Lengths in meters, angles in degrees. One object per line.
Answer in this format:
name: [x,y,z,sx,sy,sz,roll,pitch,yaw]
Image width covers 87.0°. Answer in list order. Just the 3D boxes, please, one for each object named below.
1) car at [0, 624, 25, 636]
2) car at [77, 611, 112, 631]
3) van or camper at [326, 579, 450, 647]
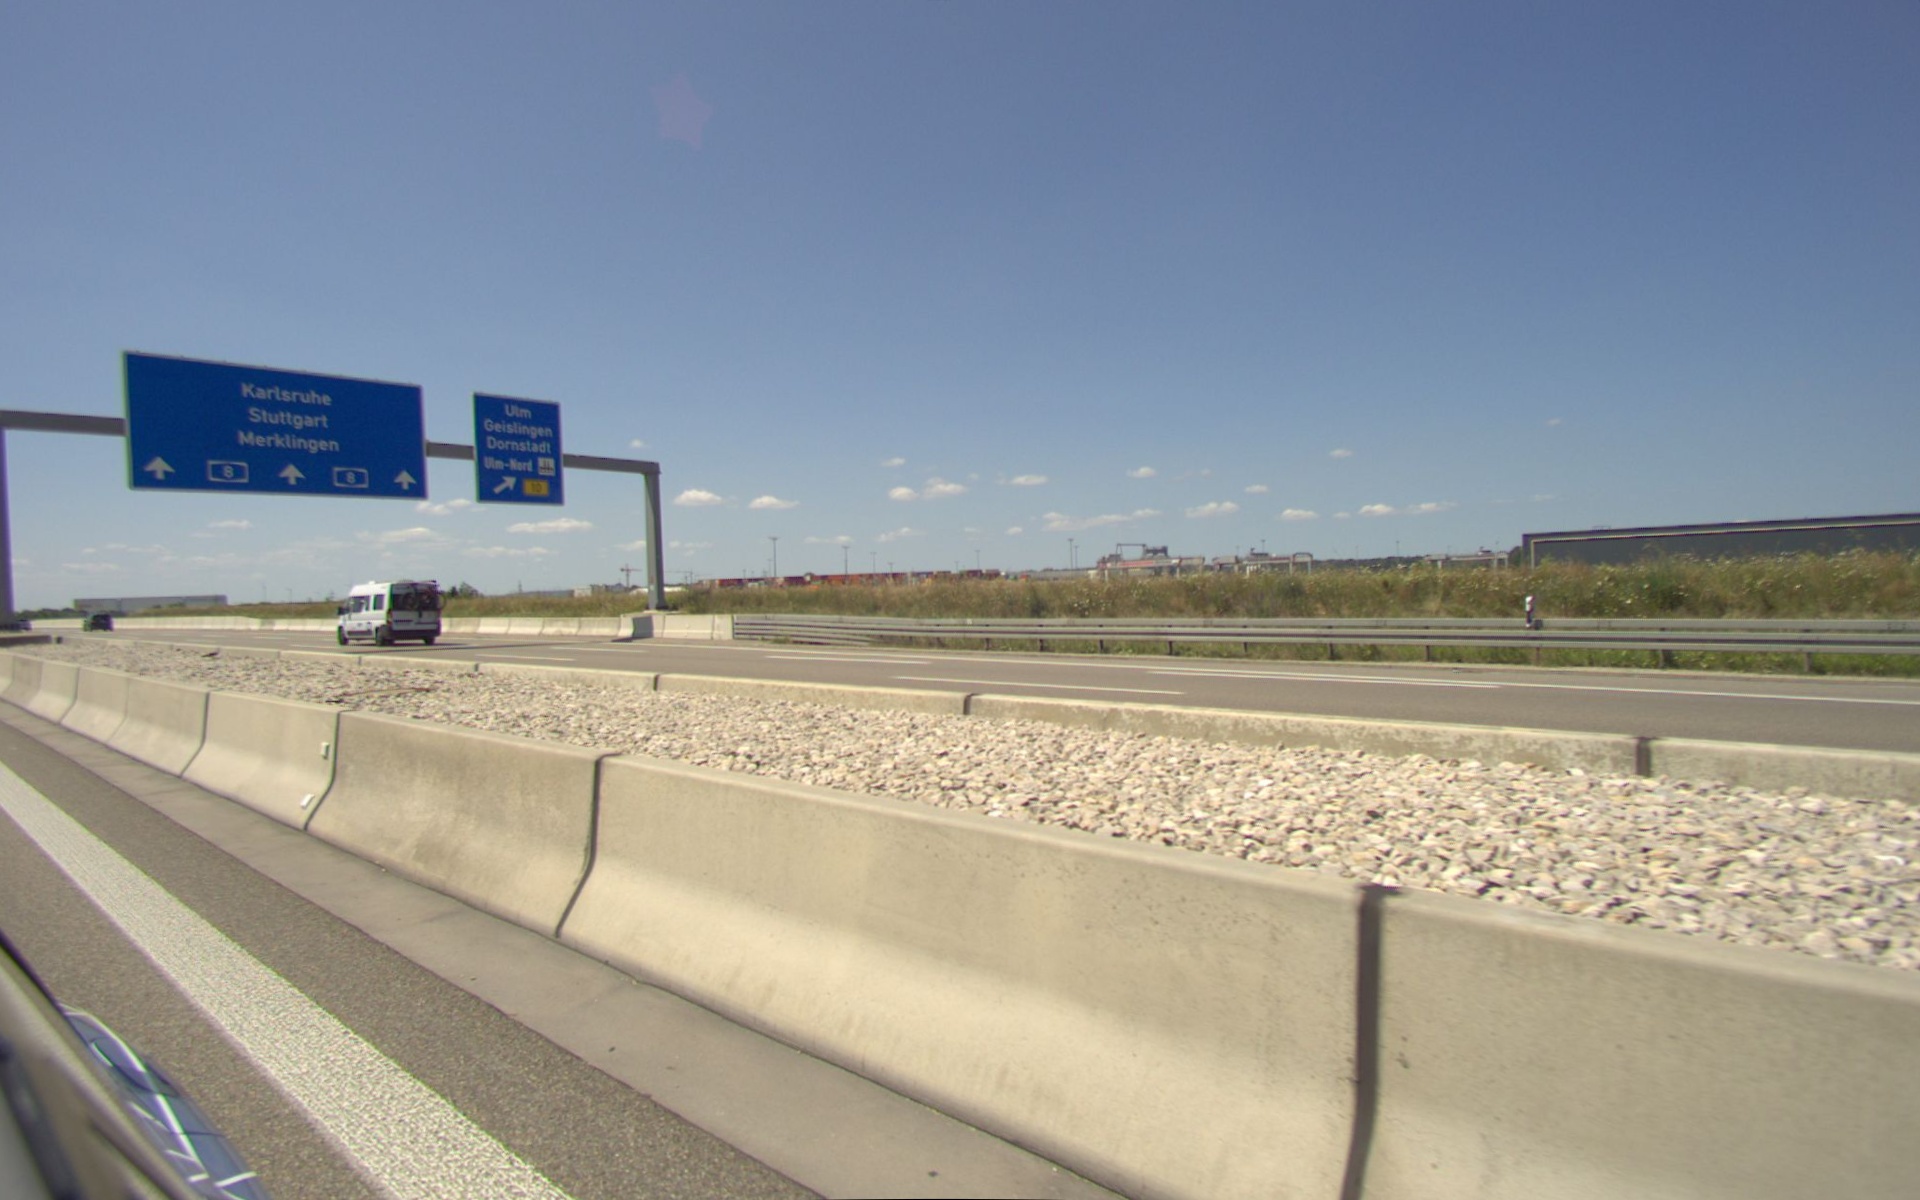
car: [-108.855,3.460,116.278,3.986,1.339,1.870,-1,0,43]
car: [-83.792,2.077,97.943,4.918,1.837,1.827,-1,0,41]
van or camper: [-23.196,0.529,40.918,6.311,2.577,2.296,-1,0,40]
